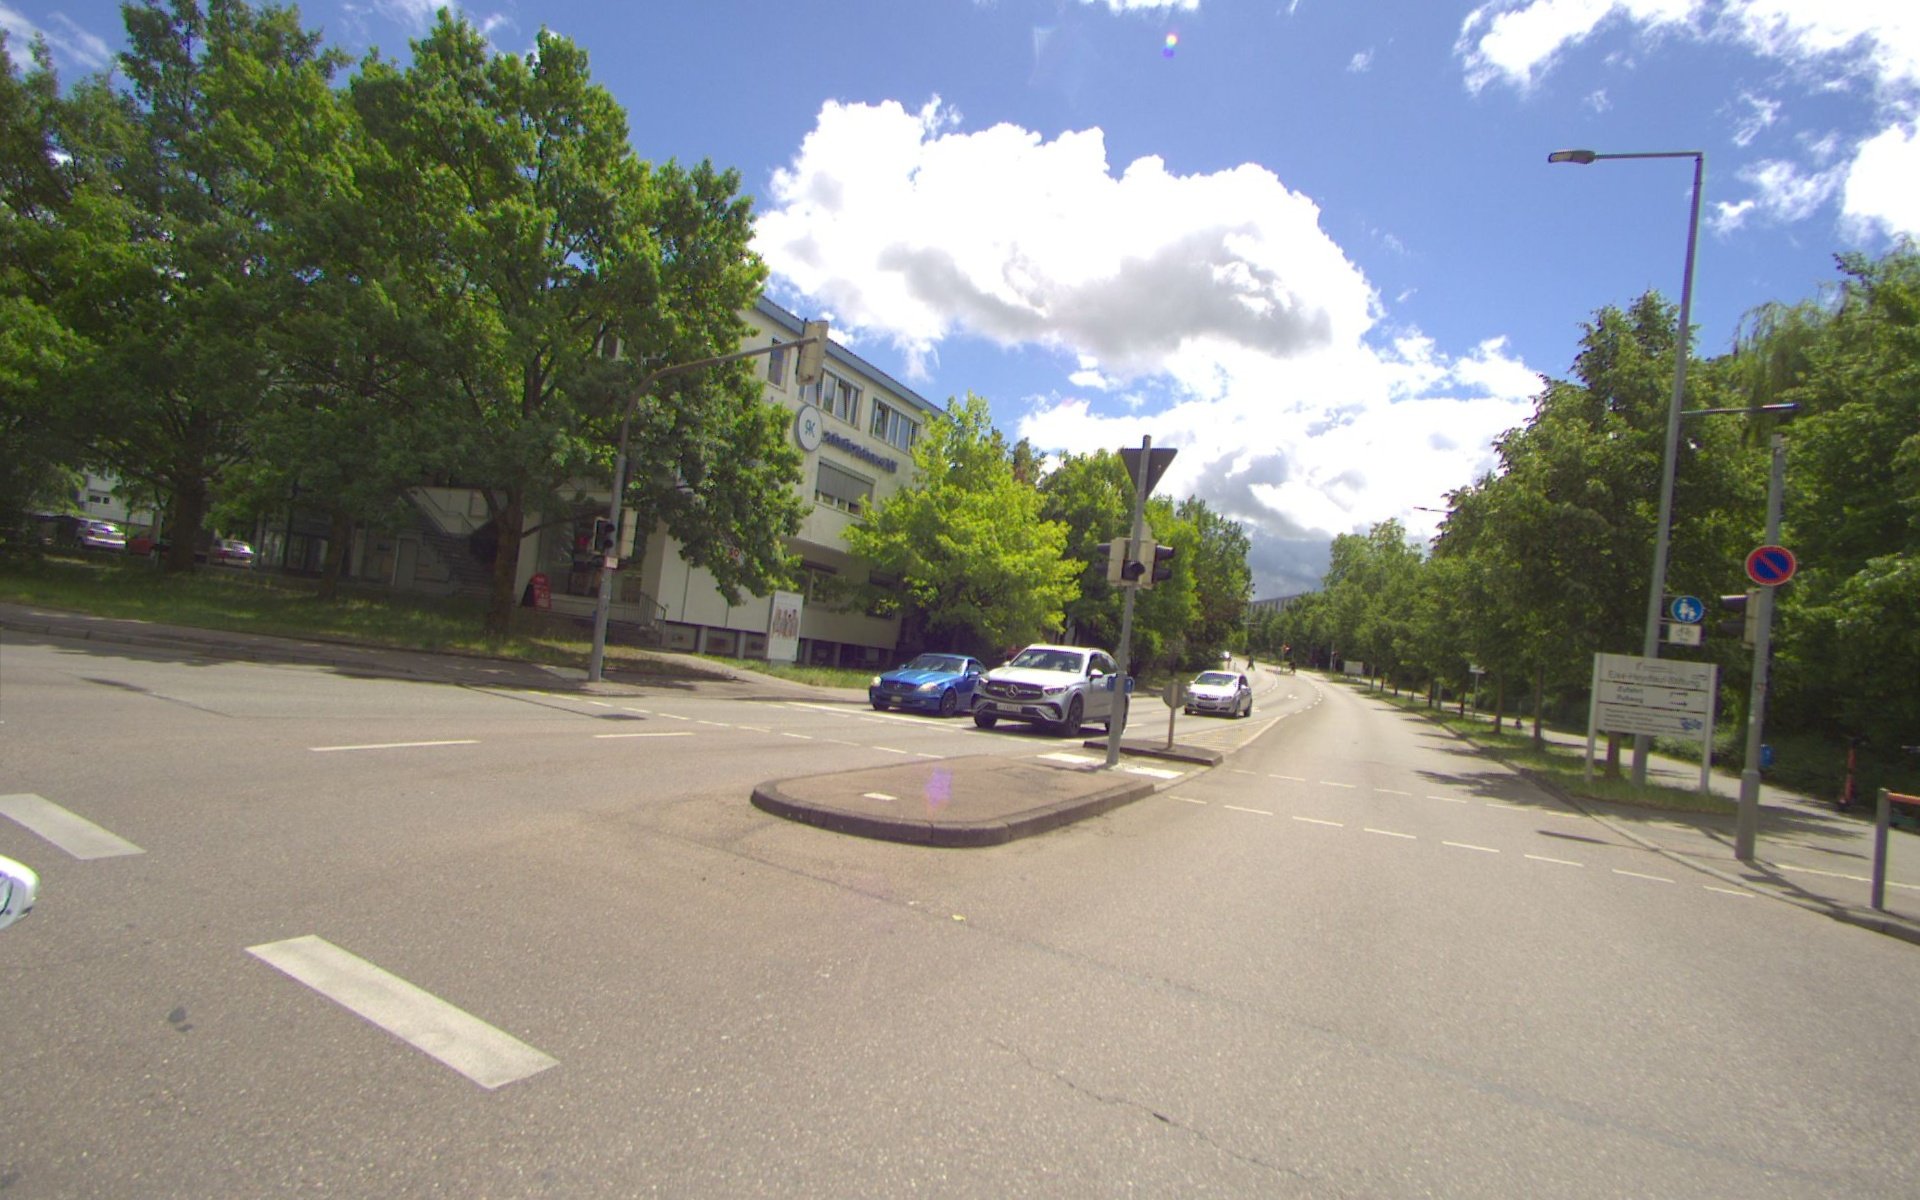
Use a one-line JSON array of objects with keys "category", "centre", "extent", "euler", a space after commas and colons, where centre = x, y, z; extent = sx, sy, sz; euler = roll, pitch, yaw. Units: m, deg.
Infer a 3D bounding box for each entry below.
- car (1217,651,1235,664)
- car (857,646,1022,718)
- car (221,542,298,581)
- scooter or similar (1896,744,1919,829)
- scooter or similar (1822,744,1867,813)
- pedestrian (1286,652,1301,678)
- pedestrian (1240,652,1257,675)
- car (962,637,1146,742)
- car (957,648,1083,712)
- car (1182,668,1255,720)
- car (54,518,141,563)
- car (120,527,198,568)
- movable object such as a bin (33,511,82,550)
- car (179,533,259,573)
[{"category": "car", "centre": [40.370, 8.709, 152.527], "extent": [1.962, 1.646, 4.004], "euler": [7, -1, 8]}, {"category": "car", "centre": [-0.321, 1.764, 21.635], "extent": [1.880, 1.239, 3.971], "euler": [4, -3, 26]}, {"category": "car", "centre": [-36.758, -2.029, 52.755], "extent": [3.933, 1.547, 1.747], "euler": [7, -1, 31]}, {"category": "scooter or similar", "centre": [14.341, 2.778, 14.870], "extent": [0.515, 1.196, 1.172], "euler": [7, -1, 37]}, {"category": "scooter or similar", "centre": [15.501, 3.109, 17.644], "extent": [0.404, 1.086, 1.112], "euler": [7, -1, 37]}, {"category": "pedestrian", "centre": [37.612, 7.320, 113.472], "extent": [1.136, 2.682, 1.536], "euler": [7, -1, 27]}, {"category": "pedestrian", "centre": [32.507, 7.154, 113.389], "extent": [1.315, 2.447, 1.408], "euler": [7, -1, 31]}, {"category": "car", "centre": [1.954, 1.697, 19.266], "extent": [1.890, 1.610, 4.655], "euler": [4, -3, 26]}, {"category": "car", "centre": [1.739, 2.185, 27.416], "extent": [1.917, 1.431, 4.404], "euler": [4, -3, 24]}, {"category": "car", "centre": [8.511, 3.066, 32.927], "extent": [1.580, 1.429, 3.898], "euler": [4, -3, 24]}, {"category": "car", "centre": [-39.587, -2.745, 46.173], "extent": [3.936, 1.508, 1.943], "euler": [7, -1, 34]}, {"category": "car", "centre": [-38.436, -2.507, 48.255], "extent": [3.936, 1.460, 1.746], "euler": [7, -1, 34]}, {"category": "movable object such as a bin", "centre": [-38.584, -2.967, 43.012], "extent": [1.263, 1.447, 1.117], "euler": [7, -1, 29]}, {"category": "car", "centre": [-36.934, -2.345, 50.118], "extent": [3.933, 1.488, 1.747], "euler": [7, -1, 31]}]
